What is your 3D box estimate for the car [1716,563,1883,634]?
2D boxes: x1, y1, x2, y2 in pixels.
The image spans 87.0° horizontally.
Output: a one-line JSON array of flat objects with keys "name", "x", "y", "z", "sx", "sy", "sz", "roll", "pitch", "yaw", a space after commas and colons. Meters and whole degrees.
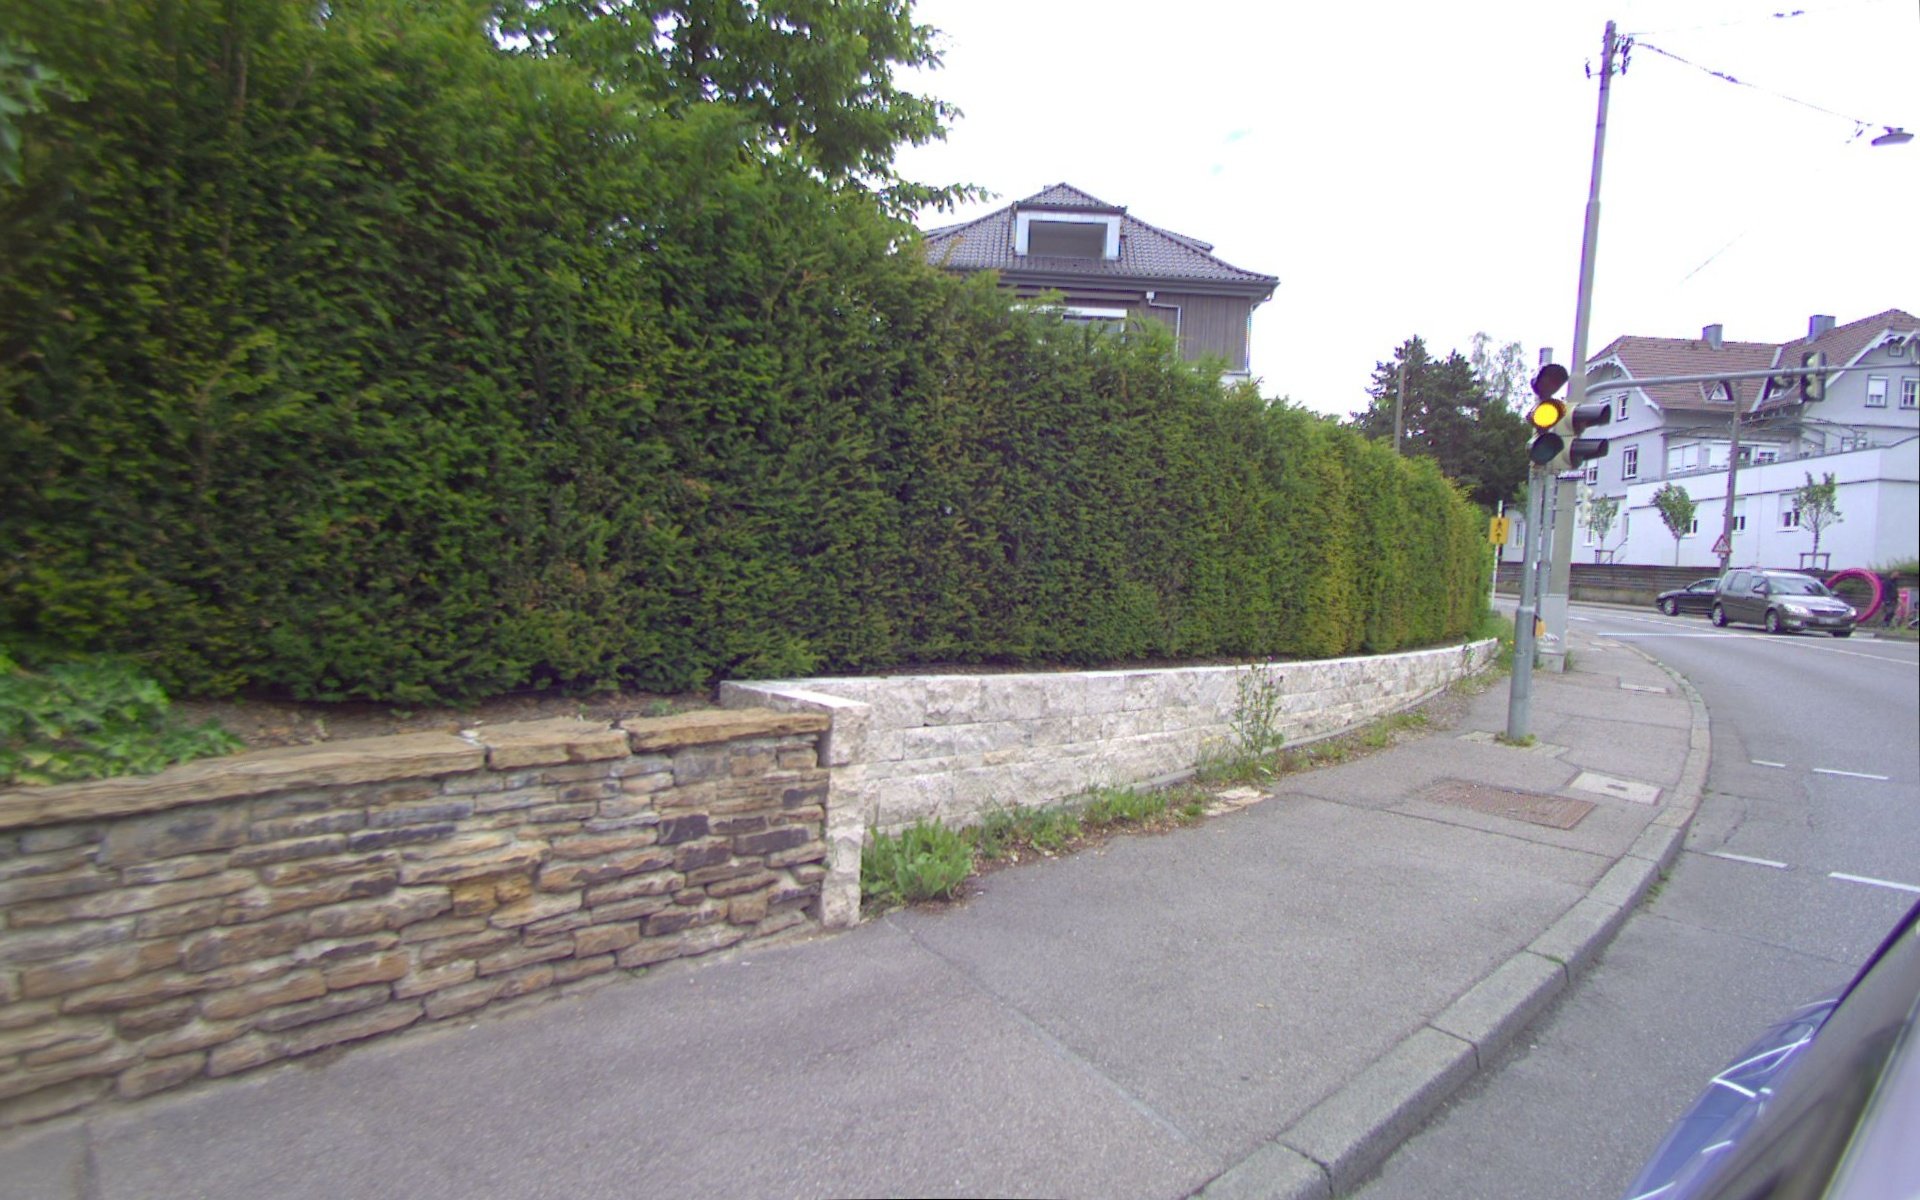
[{"name": "car", "x": 21.134, "y": -0.114, "z": 25.689, "sx": 1.594, "sy": 1.599, "sz": 3.986, "roll": 2, "pitch": 3, "yaw": 13}]

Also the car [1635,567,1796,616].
[{"name": "car", "x": 26.375, "y": -0.353, "z": 35.620, "sx": 1.964, "sy": 1.440, "sz": 5.056, "roll": 2, "pitch": 3, "yaw": 3}]

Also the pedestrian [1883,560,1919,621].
[{"name": "pedestrian", "x": 29.523, "y": -0.285, "z": 31.470, "sx": 0.863, "sy": 1.836, "sz": 0.689, "roll": 2, "pitch": 3, "yaw": -3}]
